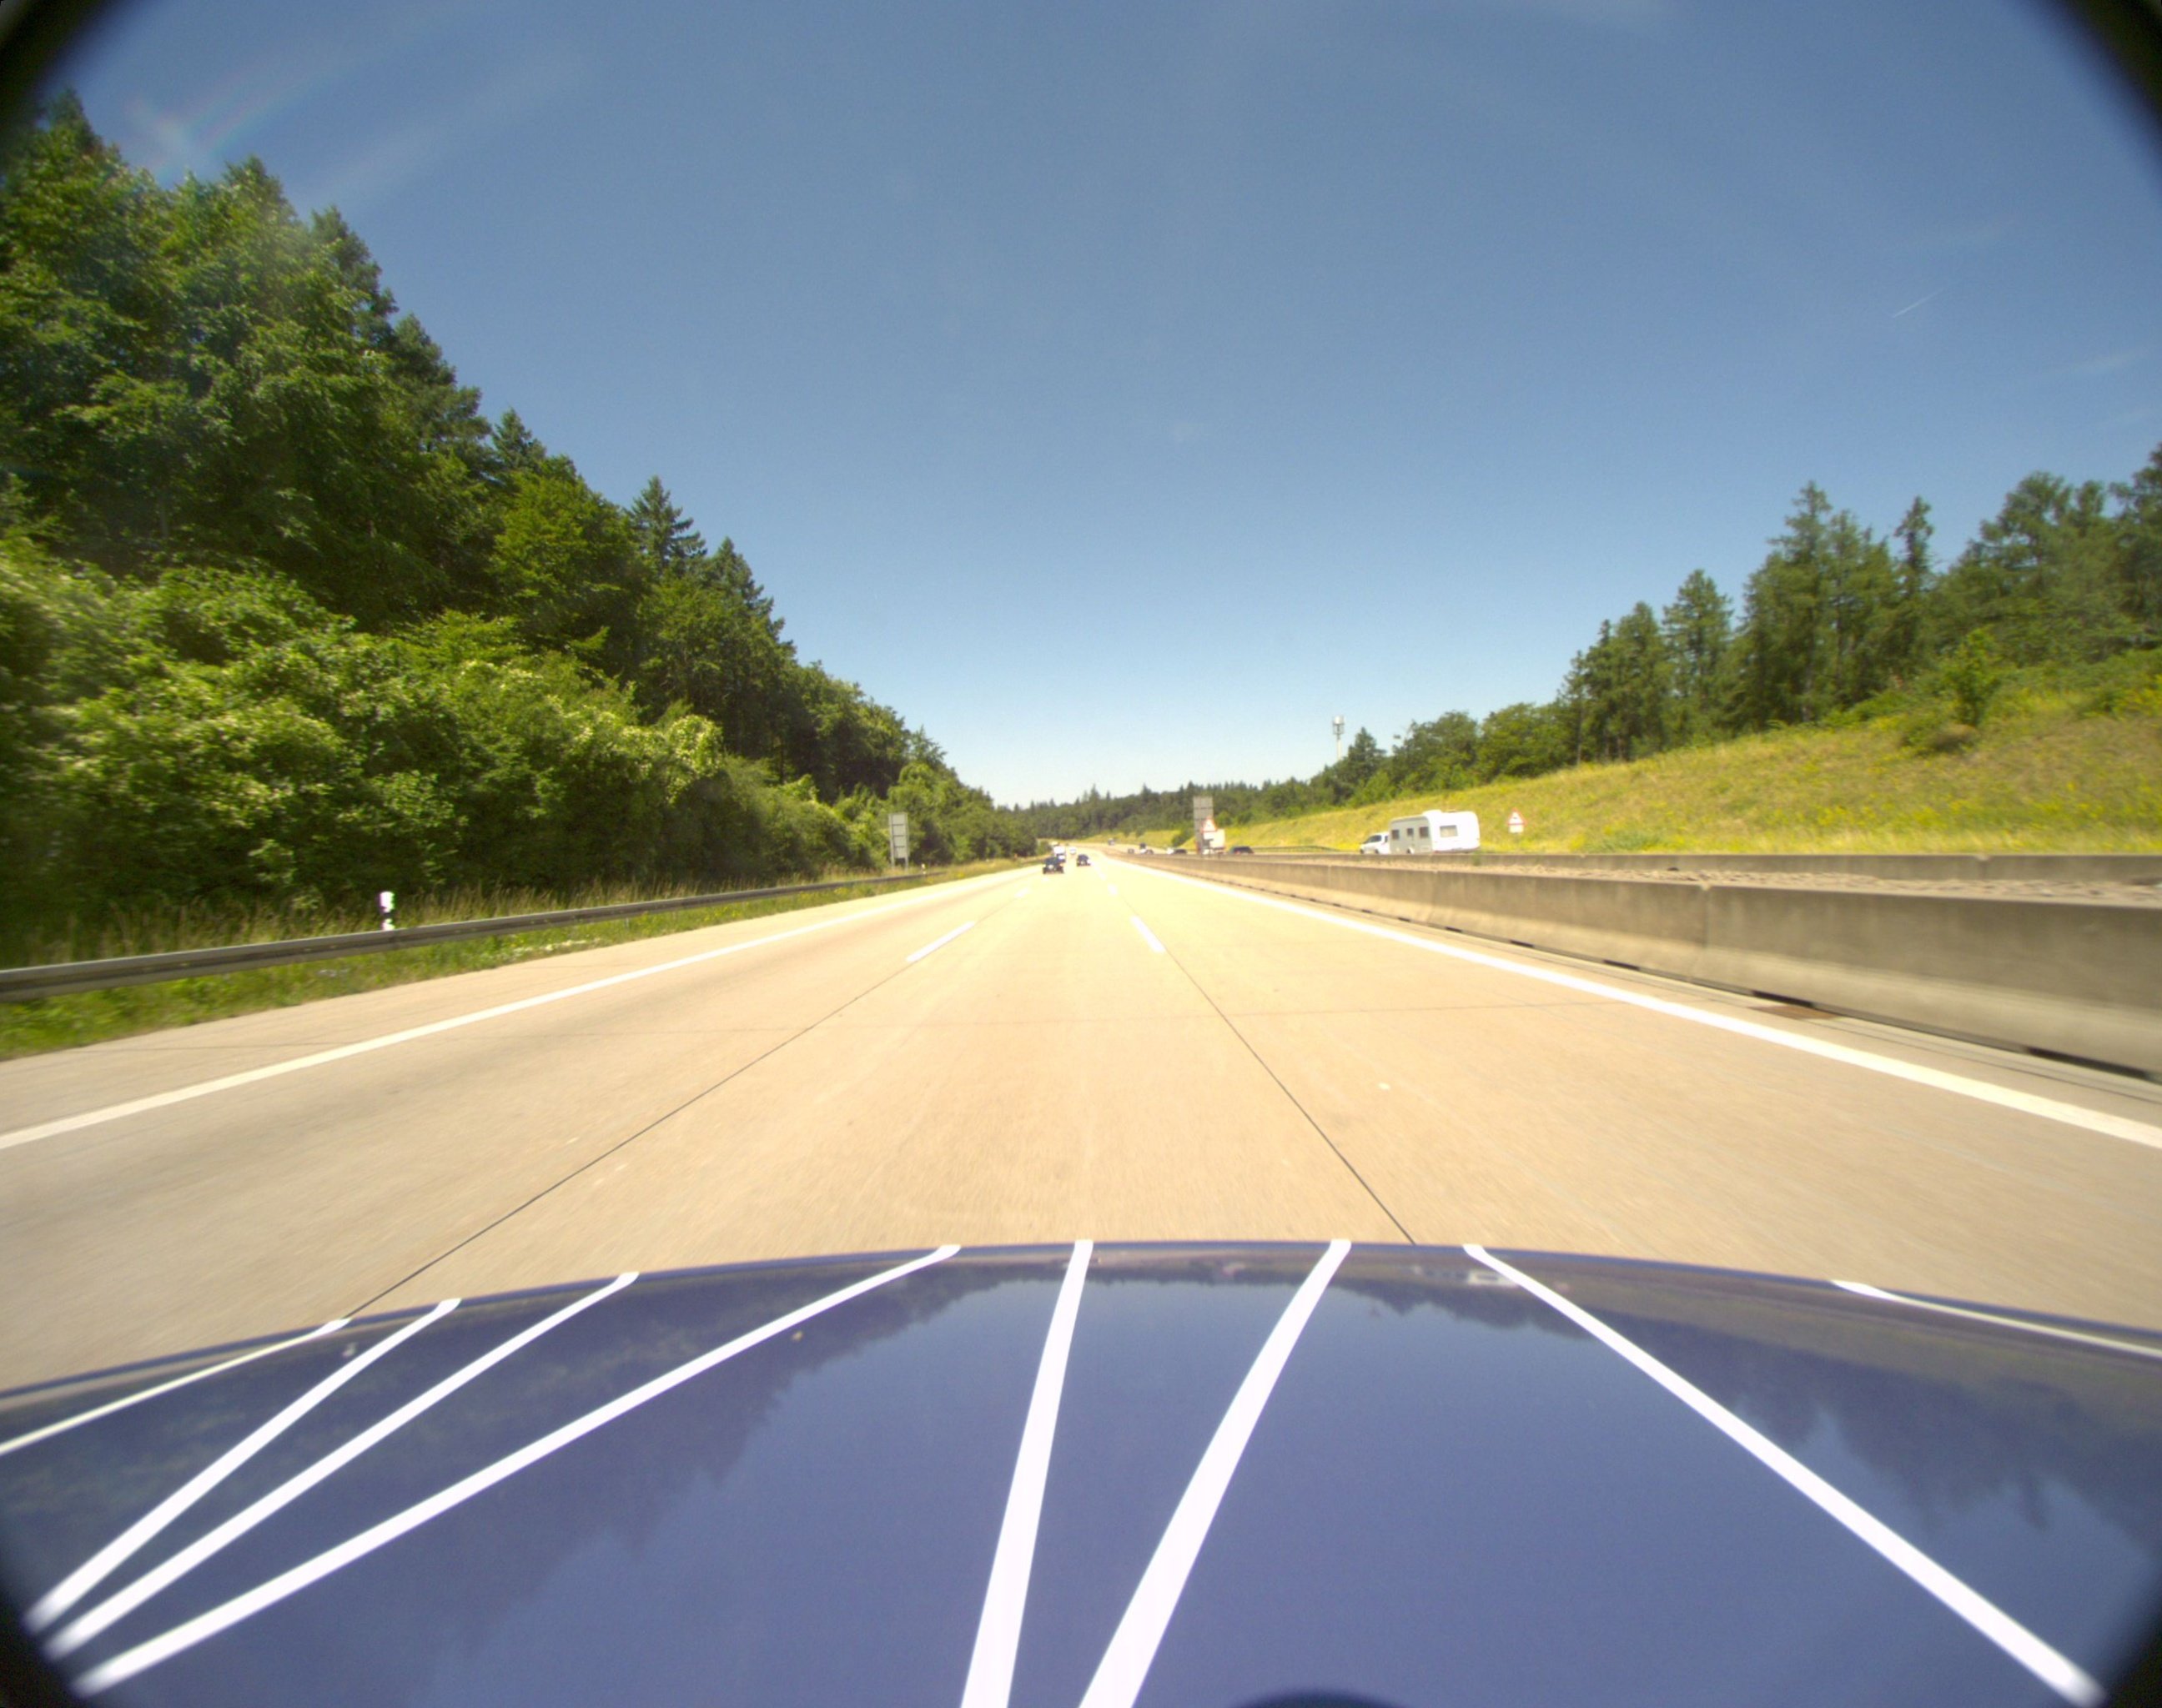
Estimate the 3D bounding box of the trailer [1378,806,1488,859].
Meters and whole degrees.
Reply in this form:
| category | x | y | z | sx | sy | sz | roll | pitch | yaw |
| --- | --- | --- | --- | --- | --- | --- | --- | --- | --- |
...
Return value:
| category | x | y | z | sx | sy | sz | roll | pitch | yaw |
| --- | --- | --- | --- | --- | --- | --- | --- | --- | --- |
| trailer | 19.815 | -1.152 | 43.374 | 2.612 | 2.616 | 7.780 | -3 | 0 | 1 |

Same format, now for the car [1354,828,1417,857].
| category | x | y | z | sx | sy | sz | roll | pitch | yaw |
| --- | --- | --- | --- | --- | --- | --- | --- | --- | --- |
| car | 19.912 | -0.725 | 49.983 | 1.998 | 1.650 | 5.373 | -3 | 0 | 1 |

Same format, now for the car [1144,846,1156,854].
| category | x | y | z | sx | sy | sz | roll | pitch | yaw |
| --- | --- | --- | --- | --- | --- | --- | --- | --- | --- |
| car | 14.320 | -0.836 | 157.431 | 1.998 | 1.682 | 4.371 | -4 | 0 | 1 |

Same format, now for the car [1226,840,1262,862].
| category | x | y | z | sx | sy | sz | roll | pitch | yaw |
| --- | --- | --- | --- | --- | --- | --- | --- | --- | --- |
| car | 12.670 | -0.247 | 59.280 | 1.998 | 1.510 | 4.000 | -3 | 0 | 1 |

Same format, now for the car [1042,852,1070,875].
| category | x | y | z | sx | sy | sz | roll | pitch | yaw |
| --- | --- | --- | --- | --- | --- | --- | --- | --- | --- |
| car | -2.126 | 0.789 | 65.589 | 1.931 | 1.694 | 4.399 | -4 | 1 | 2 |

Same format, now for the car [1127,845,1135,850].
| category | x | y | z | sx | sy | sz | roll | pitch | yaw |
| --- | --- | --- | --- | --- | --- | --- | --- | --- | --- |
| car | 15.885 | -1.974 | 241.661 | 1.998 | 1.529 | 4.196 | -4 | 0 | 1 |

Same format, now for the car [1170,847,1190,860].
| category | x | y | z | sx | sy | sz | roll | pitch | yaw |
| --- | --- | --- | --- | --- | --- | --- | --- | --- | --- |
| car | 13.088 | -0.094 | 100.523 | 1.998 | 1.549 | 4.498 | -3 | 0 | 1 |

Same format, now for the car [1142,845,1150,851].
| category | x | y | z | sx | sy | sz | roll | pitch | yaw |
| --- | --- | --- | --- | --- | --- | --- | --- | --- | --- |
| car | 19.285 | -1.733 | 226.066 | 1.998 | 1.555 | 4.000 | -4 | 0 | 1 |

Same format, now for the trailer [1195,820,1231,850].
| category | x | y | z | sx | sy | sz | roll | pitch | yaw |
| --- | --- | --- | --- | --- | --- | --- | --- | --- | --- |
| trailer | 21.475 | -3.069 | 124.810 | 3.395 | 4.406 | 13.922 | -4 | 1 | 1 |

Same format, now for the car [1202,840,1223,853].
| category | x | y | z | sx | sy | sz | roll | pitch | yaw |
| --- | --- | --- | --- | --- | --- | --- | --- | --- | --- |
| car | 16.860 | -0.980 | 97.552 | 1.998 | 1.549 | 4.498 | -3 | 0 | 1 |

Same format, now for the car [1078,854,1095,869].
| category | x | y | z | sx | sy | sz | roll | pitch | yaw |
| --- | --- | --- | --- | --- | --- | --- | --- | --- | --- |
| car | 0.769 | 1.008 | 99.086 | 1.998 | 1.694 | 4.399 | -4 | 1 | 2 |

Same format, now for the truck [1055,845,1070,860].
| category | x | y | z | sx | sy | sz | roll | pitch | yaw |
| --- | --- | --- | --- | --- | --- | --- | --- | --- | --- |
| truck | -3.769 | -0.392 | 157.877 | 2.483 | 2.780 | 5.915 | -4 | 1 | 2 |
